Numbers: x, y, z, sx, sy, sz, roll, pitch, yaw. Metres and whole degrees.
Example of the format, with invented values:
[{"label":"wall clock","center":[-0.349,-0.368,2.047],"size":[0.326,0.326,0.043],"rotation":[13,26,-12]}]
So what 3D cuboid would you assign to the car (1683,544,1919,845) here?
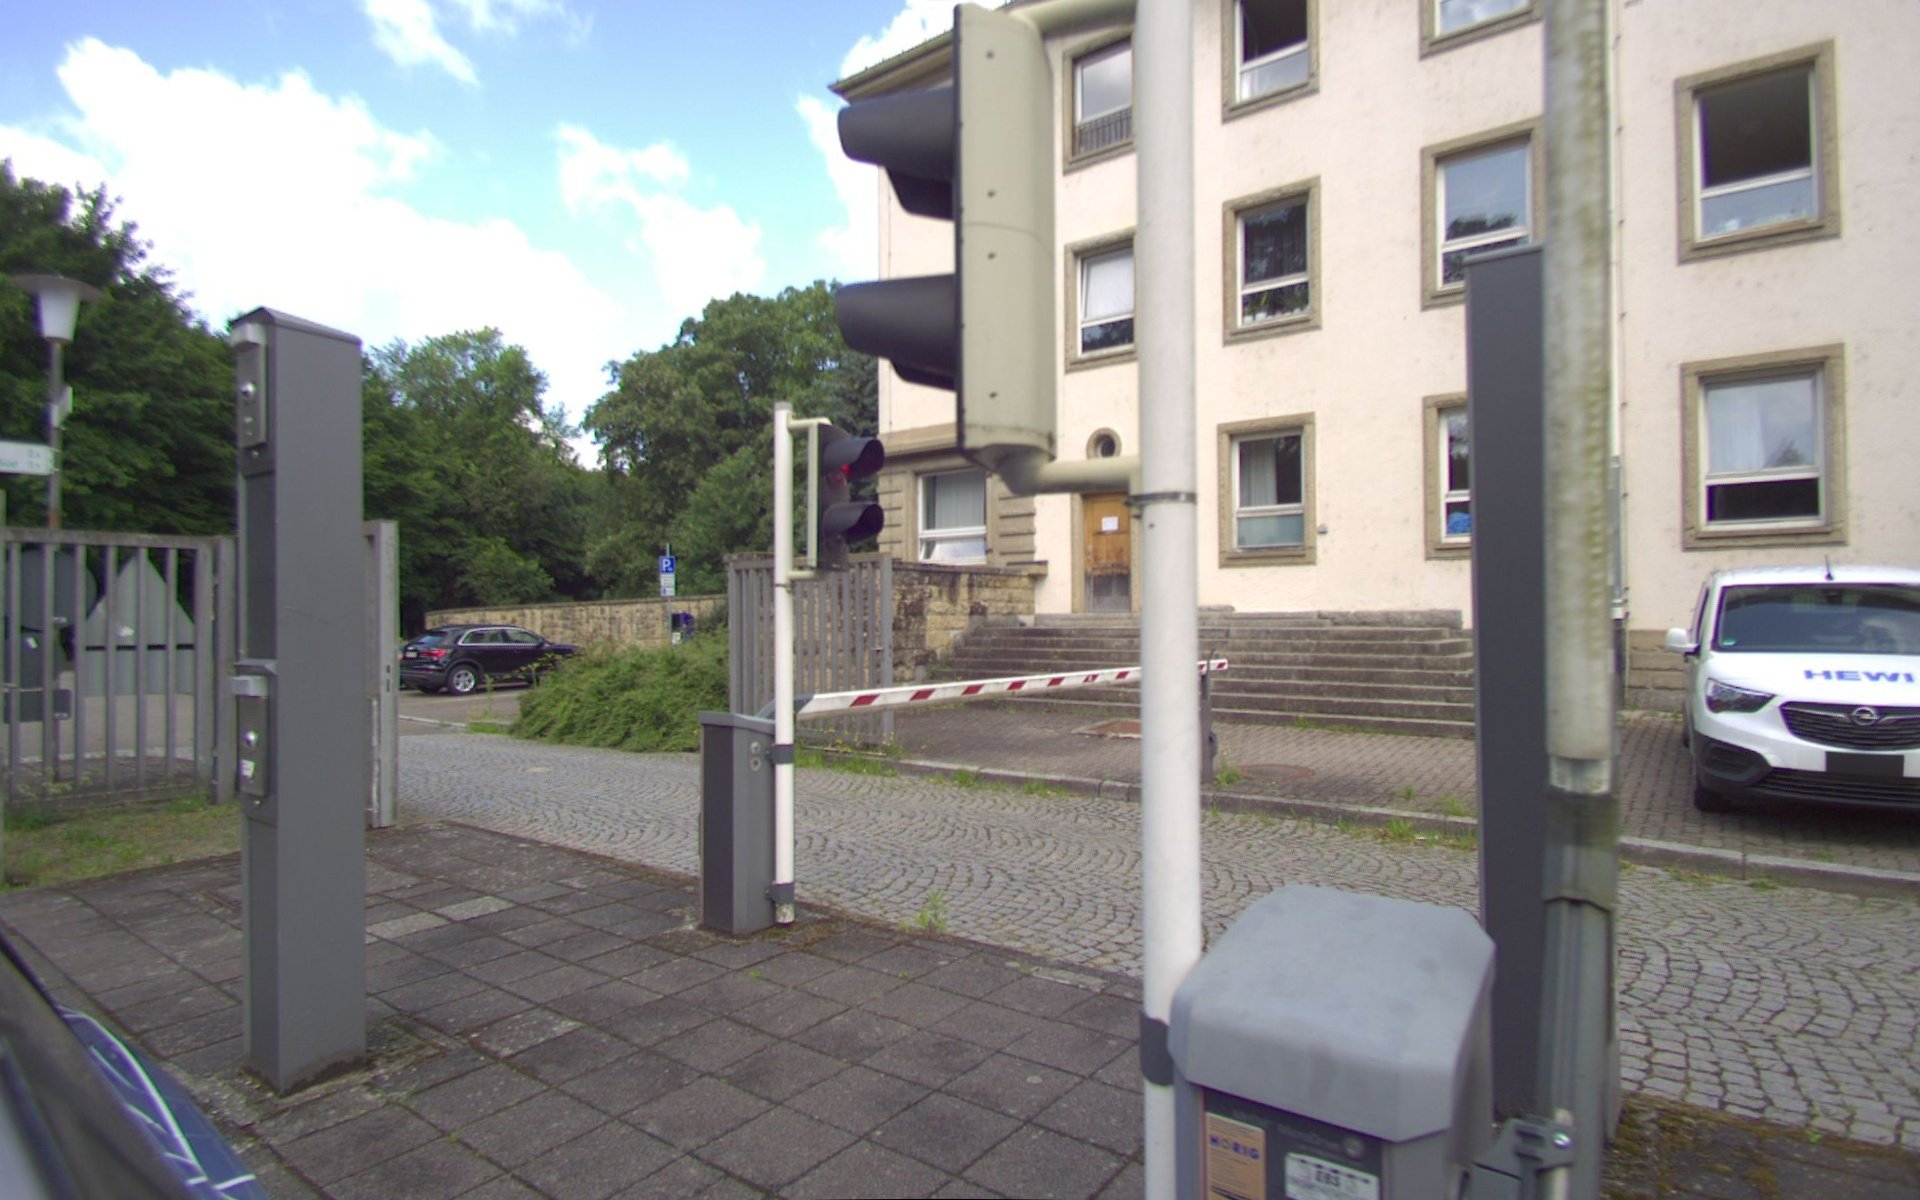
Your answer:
[{"label":"car","center":[6.890,0.495,7.973],"size":[1.816,1.819,4.265],"rotation":[-1,2,34]}]

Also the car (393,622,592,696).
[{"label":"car","center":[-11.074,1.337,24.157],"size":[1.802,1.529,3.943],"rotation":[-2,-1,43]}]
